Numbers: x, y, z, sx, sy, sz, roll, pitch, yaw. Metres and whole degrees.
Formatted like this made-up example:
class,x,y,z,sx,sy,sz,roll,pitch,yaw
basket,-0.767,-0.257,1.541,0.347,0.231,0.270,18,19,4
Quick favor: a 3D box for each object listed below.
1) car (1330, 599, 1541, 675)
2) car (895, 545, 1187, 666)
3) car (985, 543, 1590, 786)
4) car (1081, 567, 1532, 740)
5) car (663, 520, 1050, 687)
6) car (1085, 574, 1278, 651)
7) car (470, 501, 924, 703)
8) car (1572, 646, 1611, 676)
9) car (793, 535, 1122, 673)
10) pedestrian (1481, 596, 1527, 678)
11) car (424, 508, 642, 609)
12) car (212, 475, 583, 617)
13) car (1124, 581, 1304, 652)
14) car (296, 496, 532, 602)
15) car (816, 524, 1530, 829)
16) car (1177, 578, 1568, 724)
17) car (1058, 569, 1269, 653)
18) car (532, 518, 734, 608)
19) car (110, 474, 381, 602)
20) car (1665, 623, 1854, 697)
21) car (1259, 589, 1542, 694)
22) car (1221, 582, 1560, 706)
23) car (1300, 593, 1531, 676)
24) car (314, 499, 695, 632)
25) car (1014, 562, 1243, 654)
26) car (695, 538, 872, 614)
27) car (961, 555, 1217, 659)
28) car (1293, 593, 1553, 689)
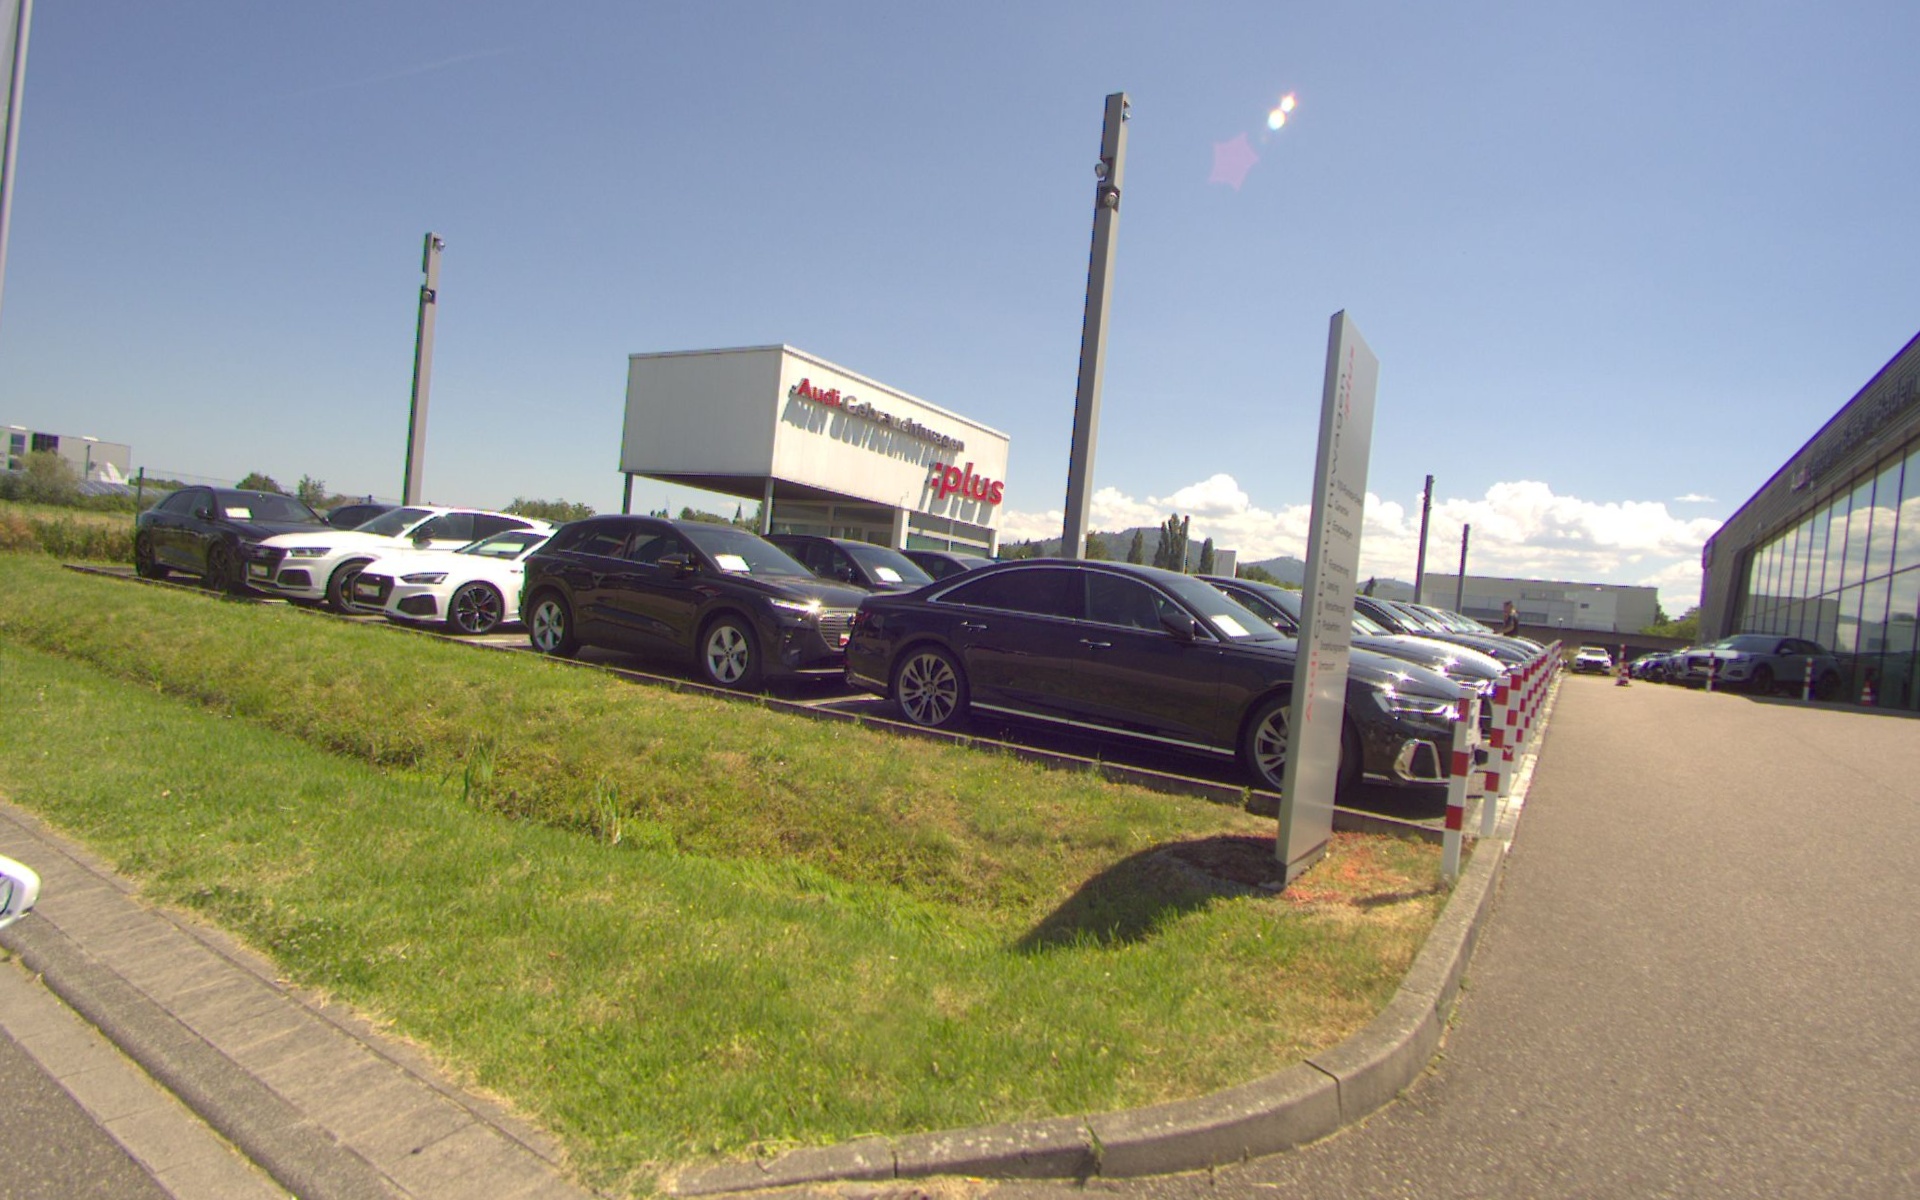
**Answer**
class,x,y,z,sx,sy,sz,roll,pitch,yaw
car,12.769,0.922,27.126,4.822,1.477,2.023,6,3,33
car,1.375,0.050,17.914,4.701,1.611,2.025,6,2,33
car,3.087,0.433,10.134,5.386,1.595,1.895,6,4,33
car,4.288,0.522,12.802,4.994,1.477,2.023,6,3,33
car,-1.434,-0.025,13.105,4.701,1.611,2.025,6,2,33
car,6.076,0.309,27.763,4.701,1.611,2.025,6,2,33
car,-2.942,-0.075,10.876,4.701,1.594,2.025,6,2,33
car,40.021,3.820,63.765,1.968,1.627,4.045,4,1,33
car,-0.110,0.002,15.700,4.701,1.611,2.025,6,2,33
pedestrian,12.098,0.833,22.370,0.627,1.717,0.711,9,2,32
car,-9.297,-0.912,21.786,4.731,1.748,2.024,6,2,34
car,-8.380,-0.725,15.448,1.997,1.715,4.531,6,2,30
car,7.533,0.473,29.957,4.701,1.611,2.025,6,2,33
car,-10.708,-1.012,19.618,4.731,1.632,2.024,6,2,34
car,1.504,0.354,8.095,5.154,1.535,2.023,6,4,33
car,6.015,0.621,14.923,4.994,1.477,2.023,6,3,33
car,5.071,0.254,25.319,4.701,1.611,2.025,6,2,33
car,-7.870,-0.900,24.028,4.731,1.702,2.024,6,2,34
car,-12.138,-1.080,16.977,5.026,1.715,2.024,6,2,34
car,20.265,1.521,25.508,4.000,1.575,1.958,3,1,-22
car,8.707,0.734,20.055,4.822,1.477,2.023,6,3,33
car,7.295,0.671,17.267,4.994,1.476,2.025,6,2,33
car,11.152,0.771,24.756,4.822,1.477,2.023,6,3,33
car,-6.160,-0.387,14.196,1.997,1.476,4.531,6,2,30
car,3.832,0.155,23.182,4.700,1.611,2.025,6,2,32
car,-5.013,-0.694,28.356,4.731,1.676,2.024,6,2,34
car,2.597,0.110,20.666,4.701,1.611,2.025,6,2,33
car,10.028,0.800,21.920,4.822,1.477,2.023,6,3,33
